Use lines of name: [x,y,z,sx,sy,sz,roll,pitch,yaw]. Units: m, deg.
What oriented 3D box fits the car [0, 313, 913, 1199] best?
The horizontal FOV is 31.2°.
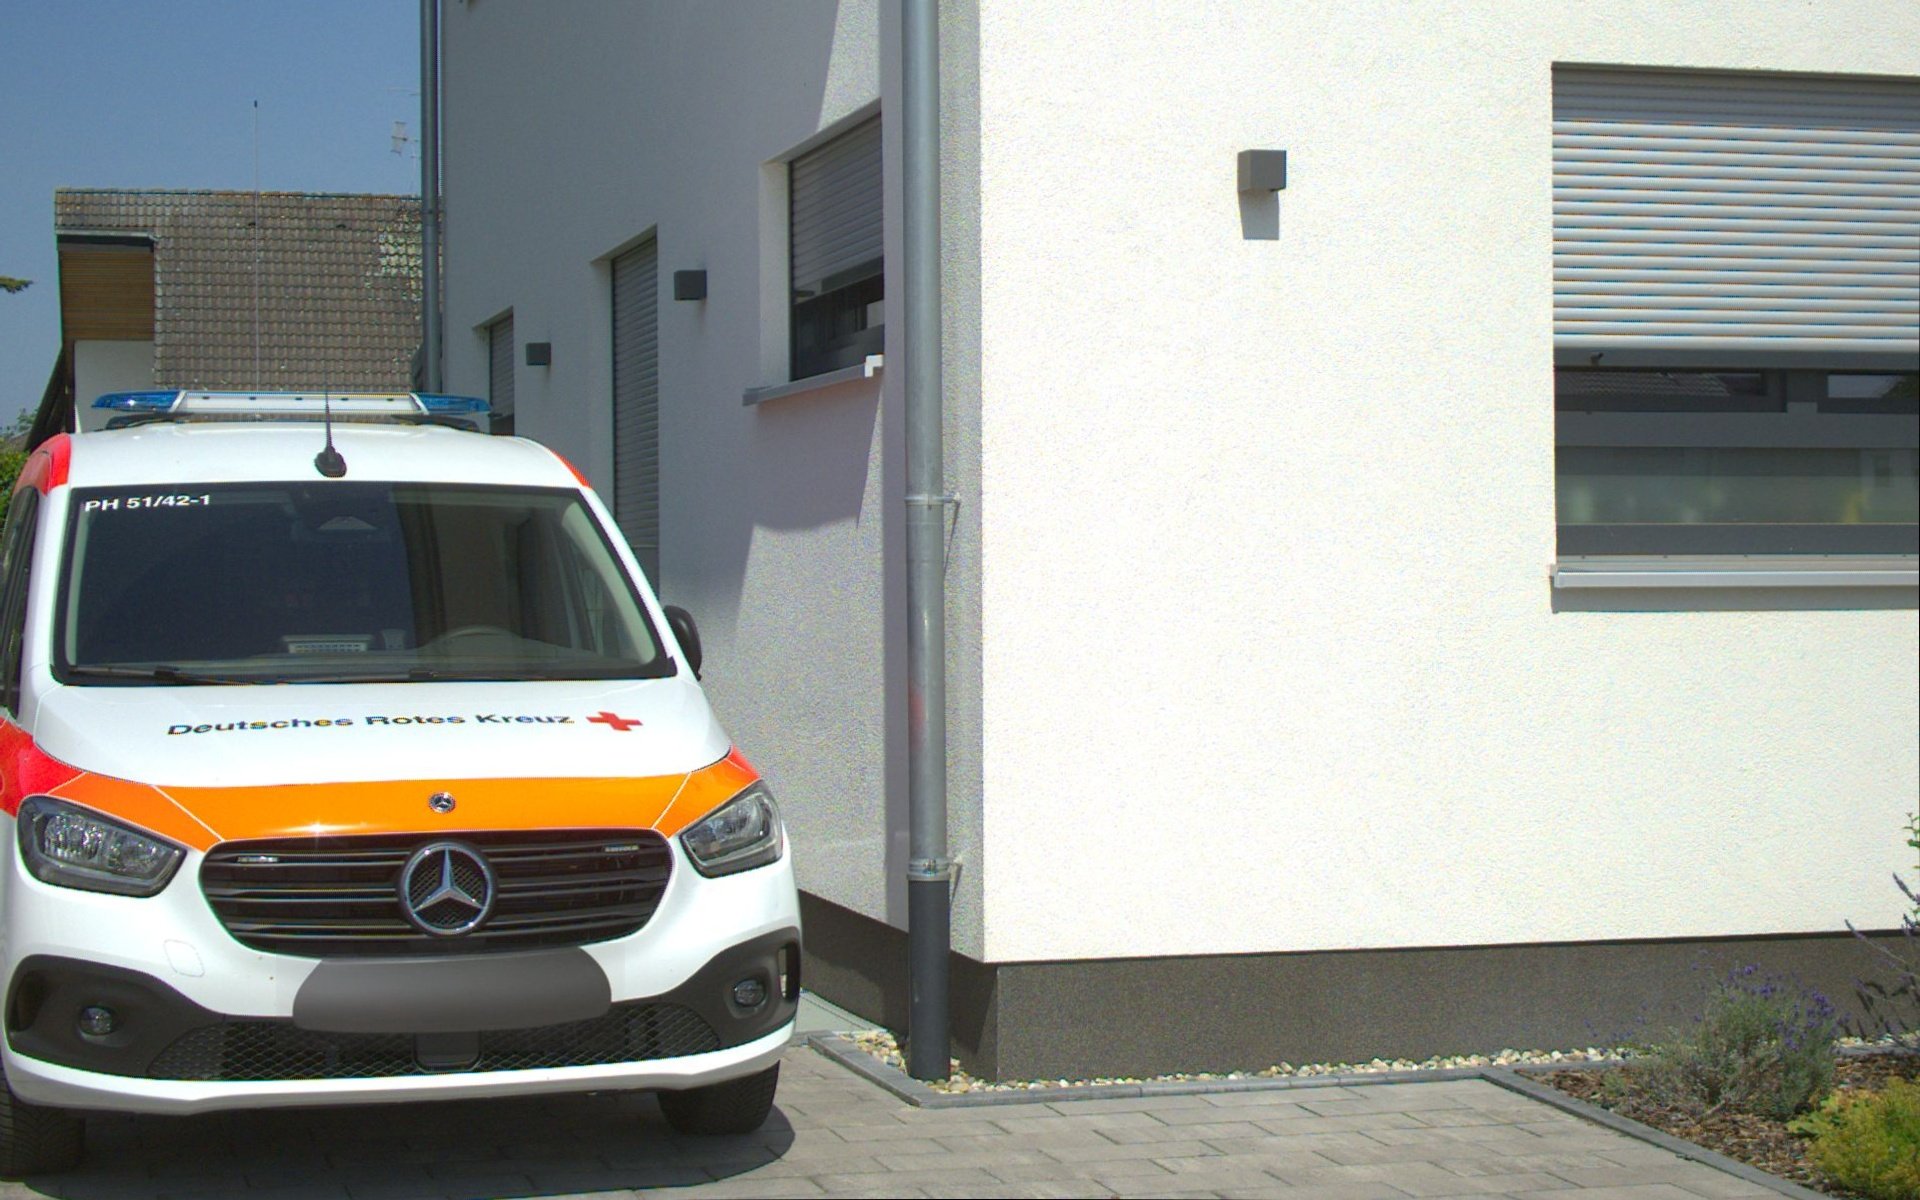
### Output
car: [-1.738,0.361,9.218,1.931,1.868,4.753,0,0,-18]
